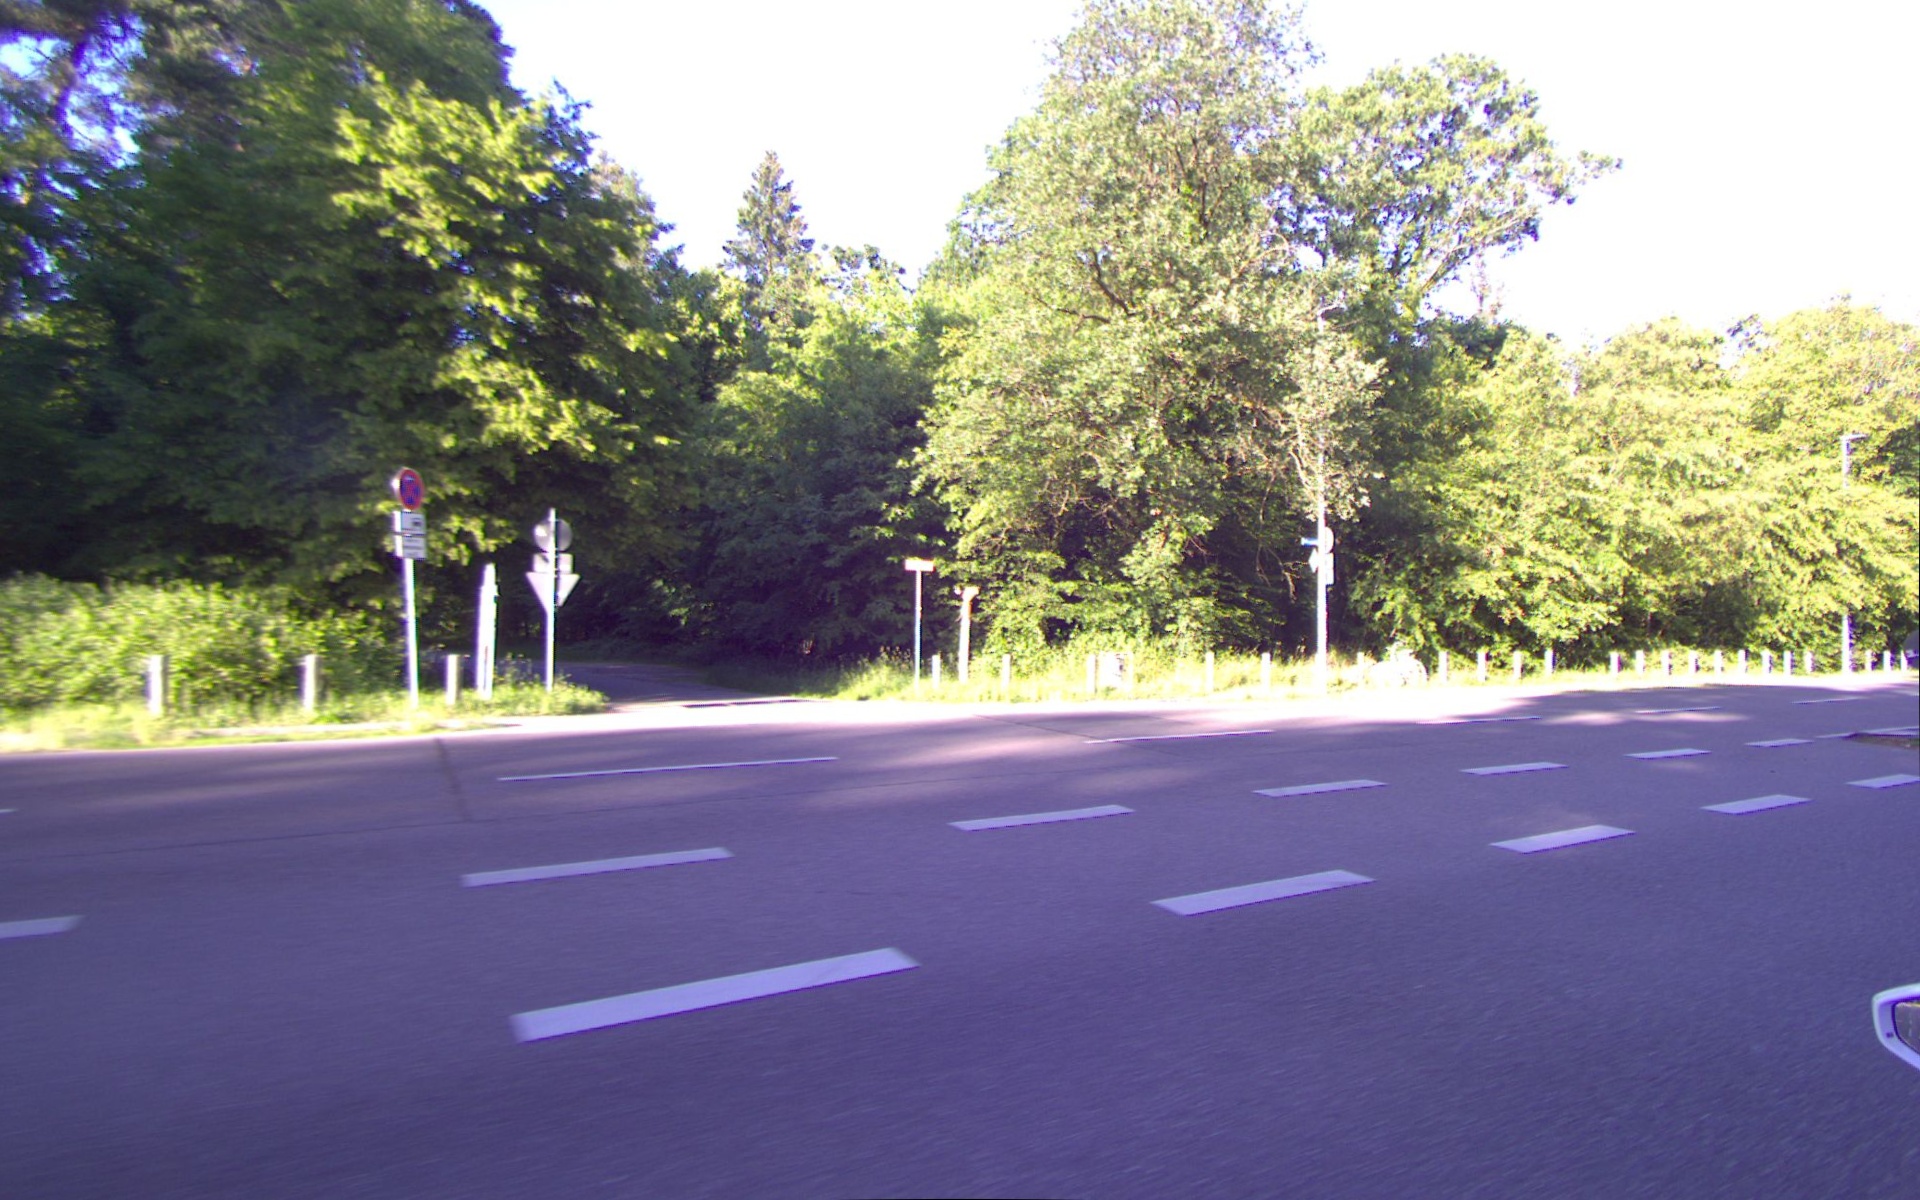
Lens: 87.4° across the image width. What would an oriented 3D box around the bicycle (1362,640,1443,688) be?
[{"bbox_3d":[11.112,1.615,25.205,2.186,1.147,0.400,2,0,-21],"label":"bicycle"}]
